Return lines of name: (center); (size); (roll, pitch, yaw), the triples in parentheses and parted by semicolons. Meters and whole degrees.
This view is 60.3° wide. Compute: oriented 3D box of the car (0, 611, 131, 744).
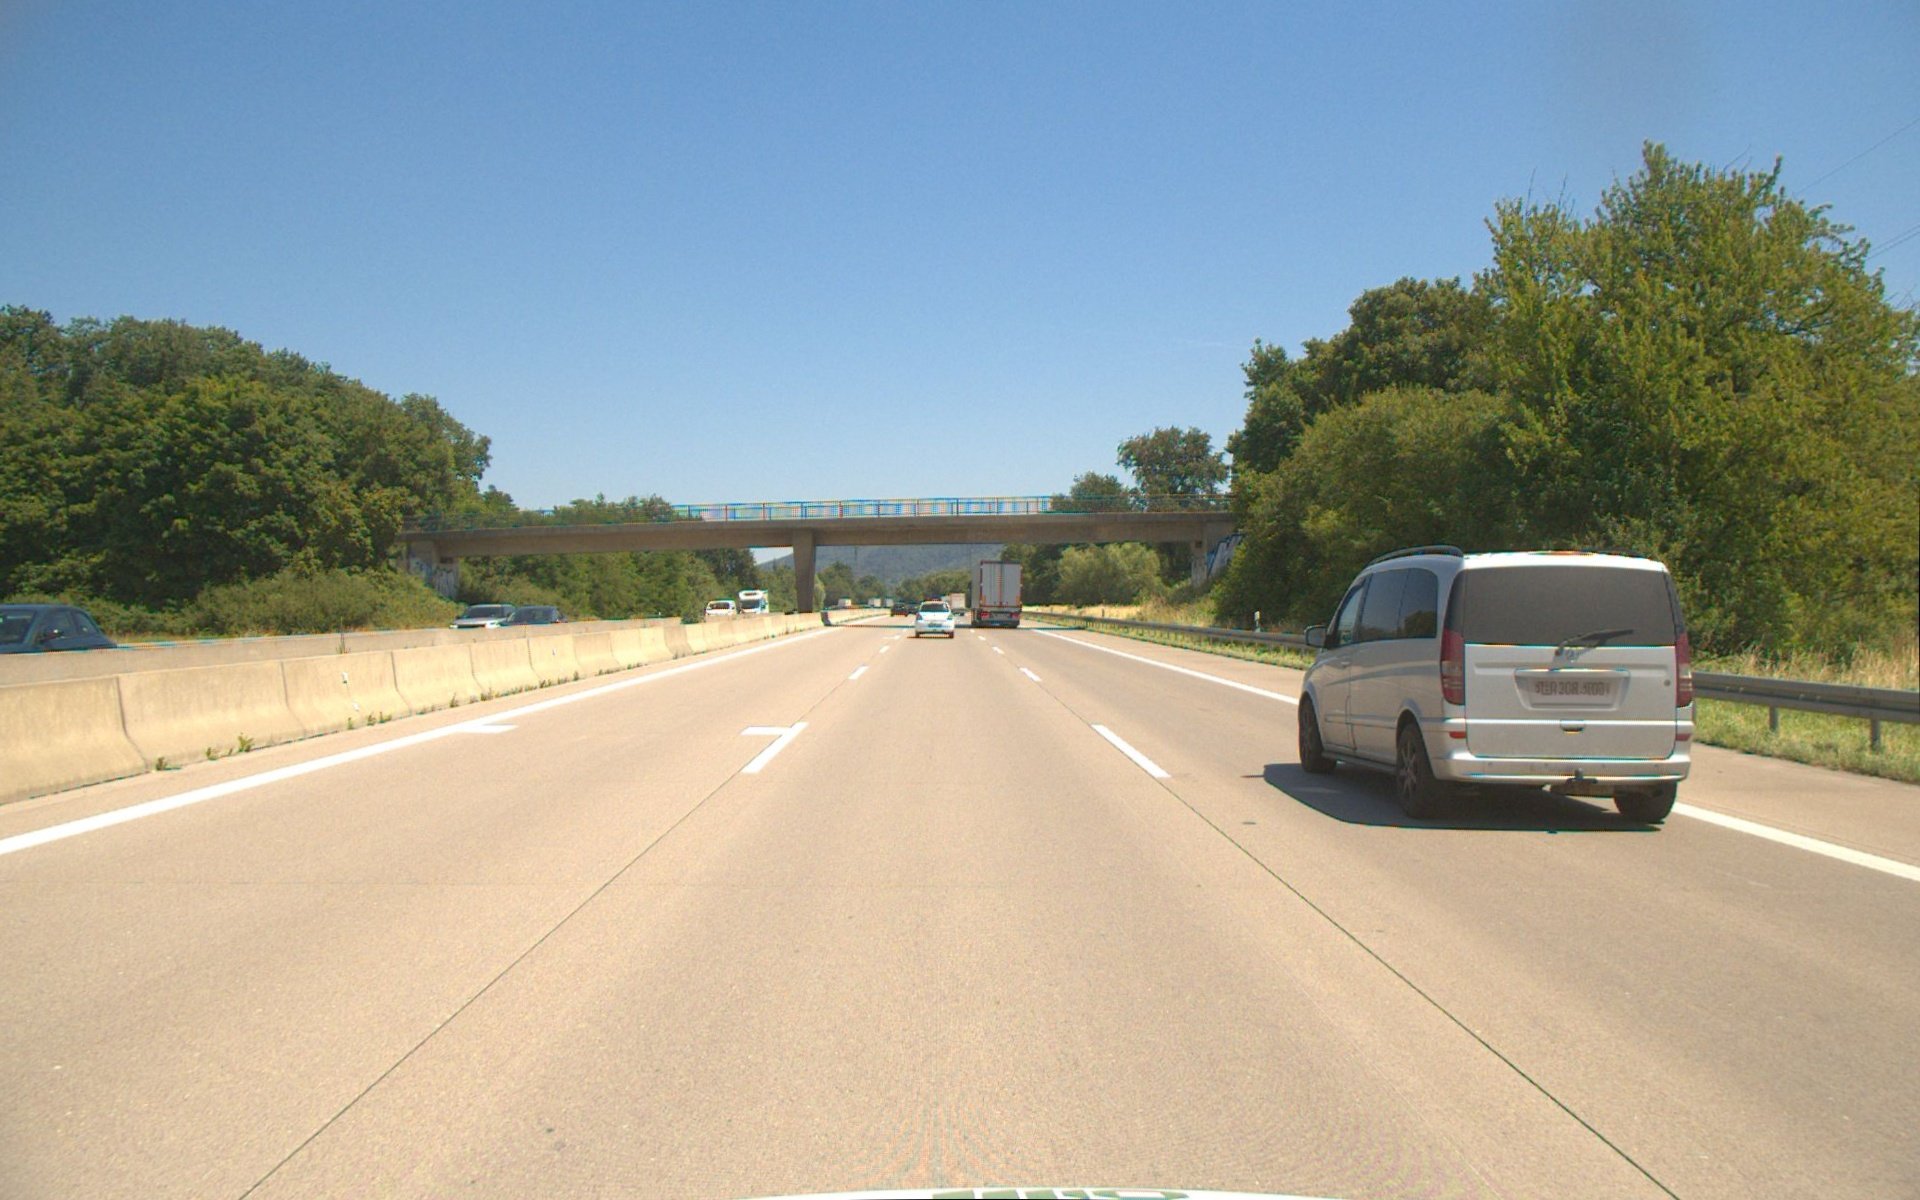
car: (-12.421, 0.955, 20.965); (1.653, 1.571, 4.338); (-1, 0, -1)

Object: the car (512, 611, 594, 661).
car: (-13.247, 1.149, 53.997); (1.721, 1.523, 4.079); (-1, 0, -1)

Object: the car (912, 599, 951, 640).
car: (-1.203, 0.820, 70.673); (1.608, 1.691, 3.359); (1, 0, -1)

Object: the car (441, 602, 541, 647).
car: (-17.271, 0.862, 61.253); (2.023, 1.523, 6.134); (-1, 0, -1)

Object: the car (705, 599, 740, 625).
car: (-16.934, 0.838, 118.124); (1.789, 1.748, 5.791); (0, 0, -1)

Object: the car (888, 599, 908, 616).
car: (-6.711, 0.773, 178.115); (1.982, 1.730, 3.997); (2, 0, -4)

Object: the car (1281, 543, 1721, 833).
car: (4.109, 0.580, 13.632); (1.841, 1.922, 5.278); (0, 0, -1)

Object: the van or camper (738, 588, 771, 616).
van or camper: (-18.946, 0.172, 152.532); (2.203, 2.486, 7.800); (1, 0, -1)

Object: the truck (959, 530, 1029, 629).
truck: (2.028, -1.207, 107.749); (3.505, 5.889, 18.238); (0, 0, -2)
